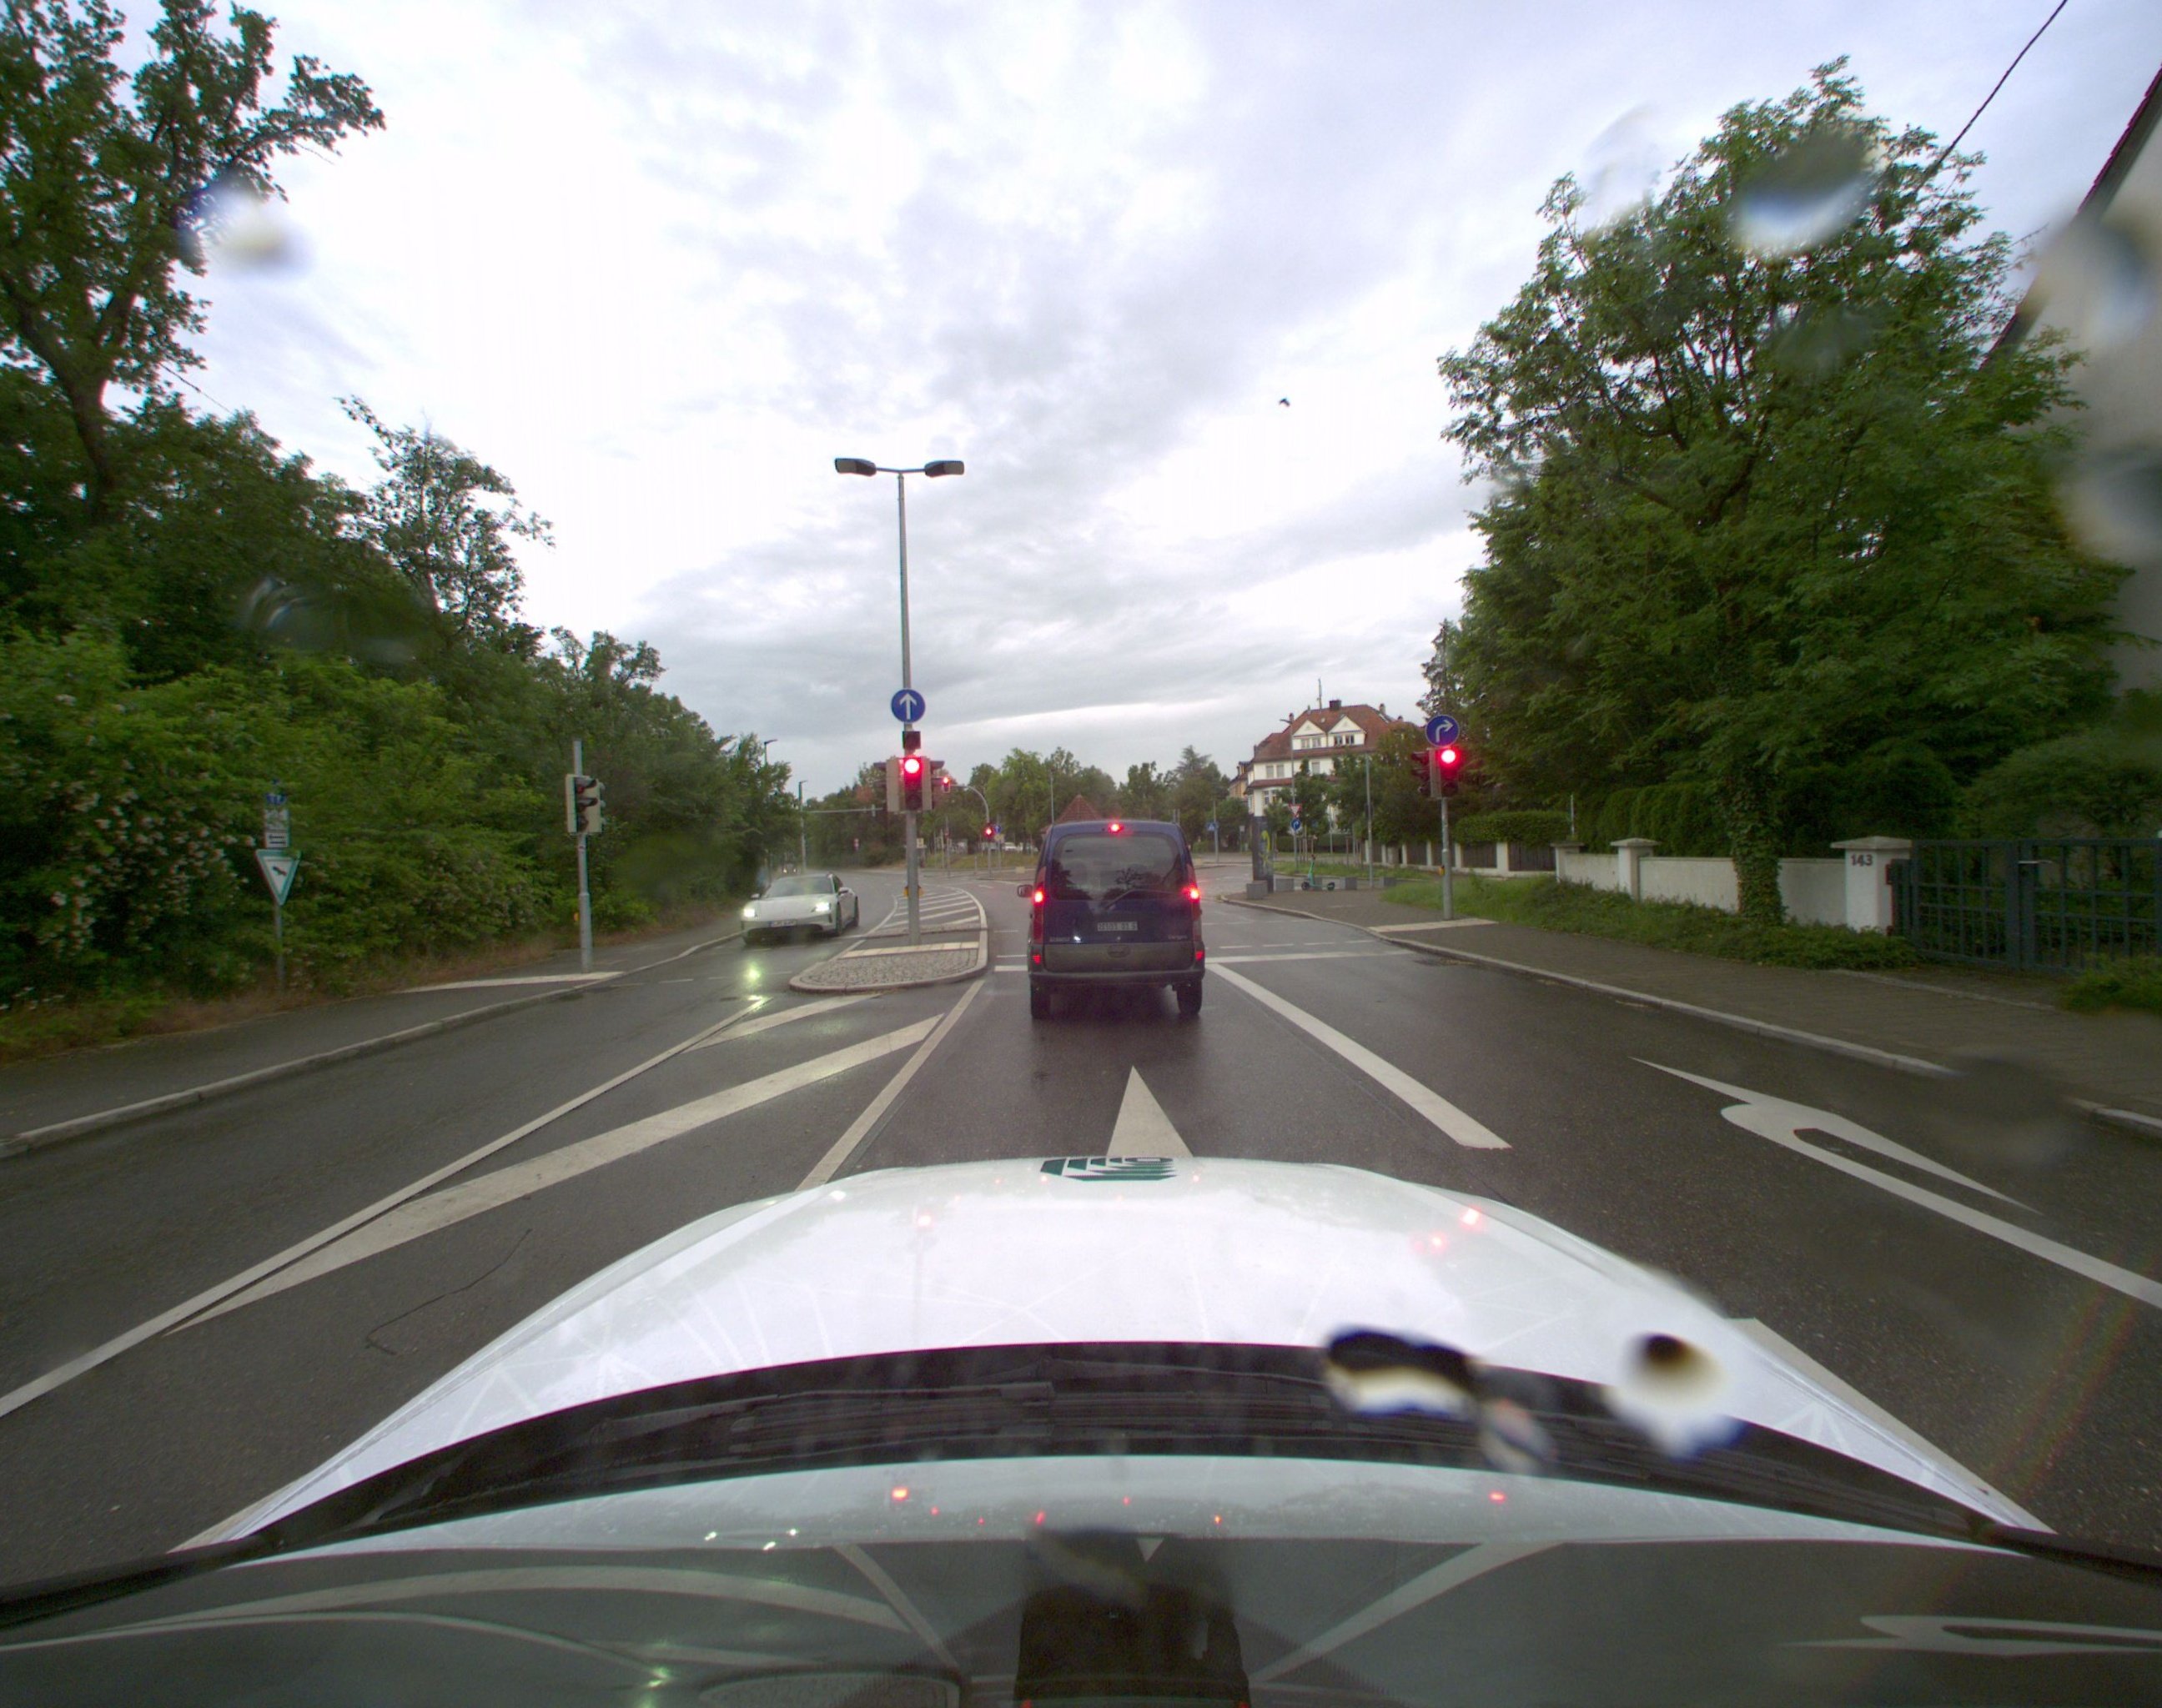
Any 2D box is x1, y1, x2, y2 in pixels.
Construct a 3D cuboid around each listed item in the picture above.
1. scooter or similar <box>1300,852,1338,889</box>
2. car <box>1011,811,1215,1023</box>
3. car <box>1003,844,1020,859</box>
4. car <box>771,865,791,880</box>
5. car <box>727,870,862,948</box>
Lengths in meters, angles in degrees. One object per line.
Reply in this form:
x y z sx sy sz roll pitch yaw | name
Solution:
8.089 0.556 27.722 1.145 1.219 0.406 -2 -1 1 | scooter or similar
0.281 0.536 9.025 1.726 1.786 3.999 -1 0 0 | car
-9.372 -0.309 110.329 1.987 1.812 3.999 -1 -1 0 | car
-41.359 2.547 112.295 2.005 2.014 3.963 -1 -1 -28 | car
-6.341 1.151 18.590 1.993 1.311 4.347 -5 1 -8 | car
